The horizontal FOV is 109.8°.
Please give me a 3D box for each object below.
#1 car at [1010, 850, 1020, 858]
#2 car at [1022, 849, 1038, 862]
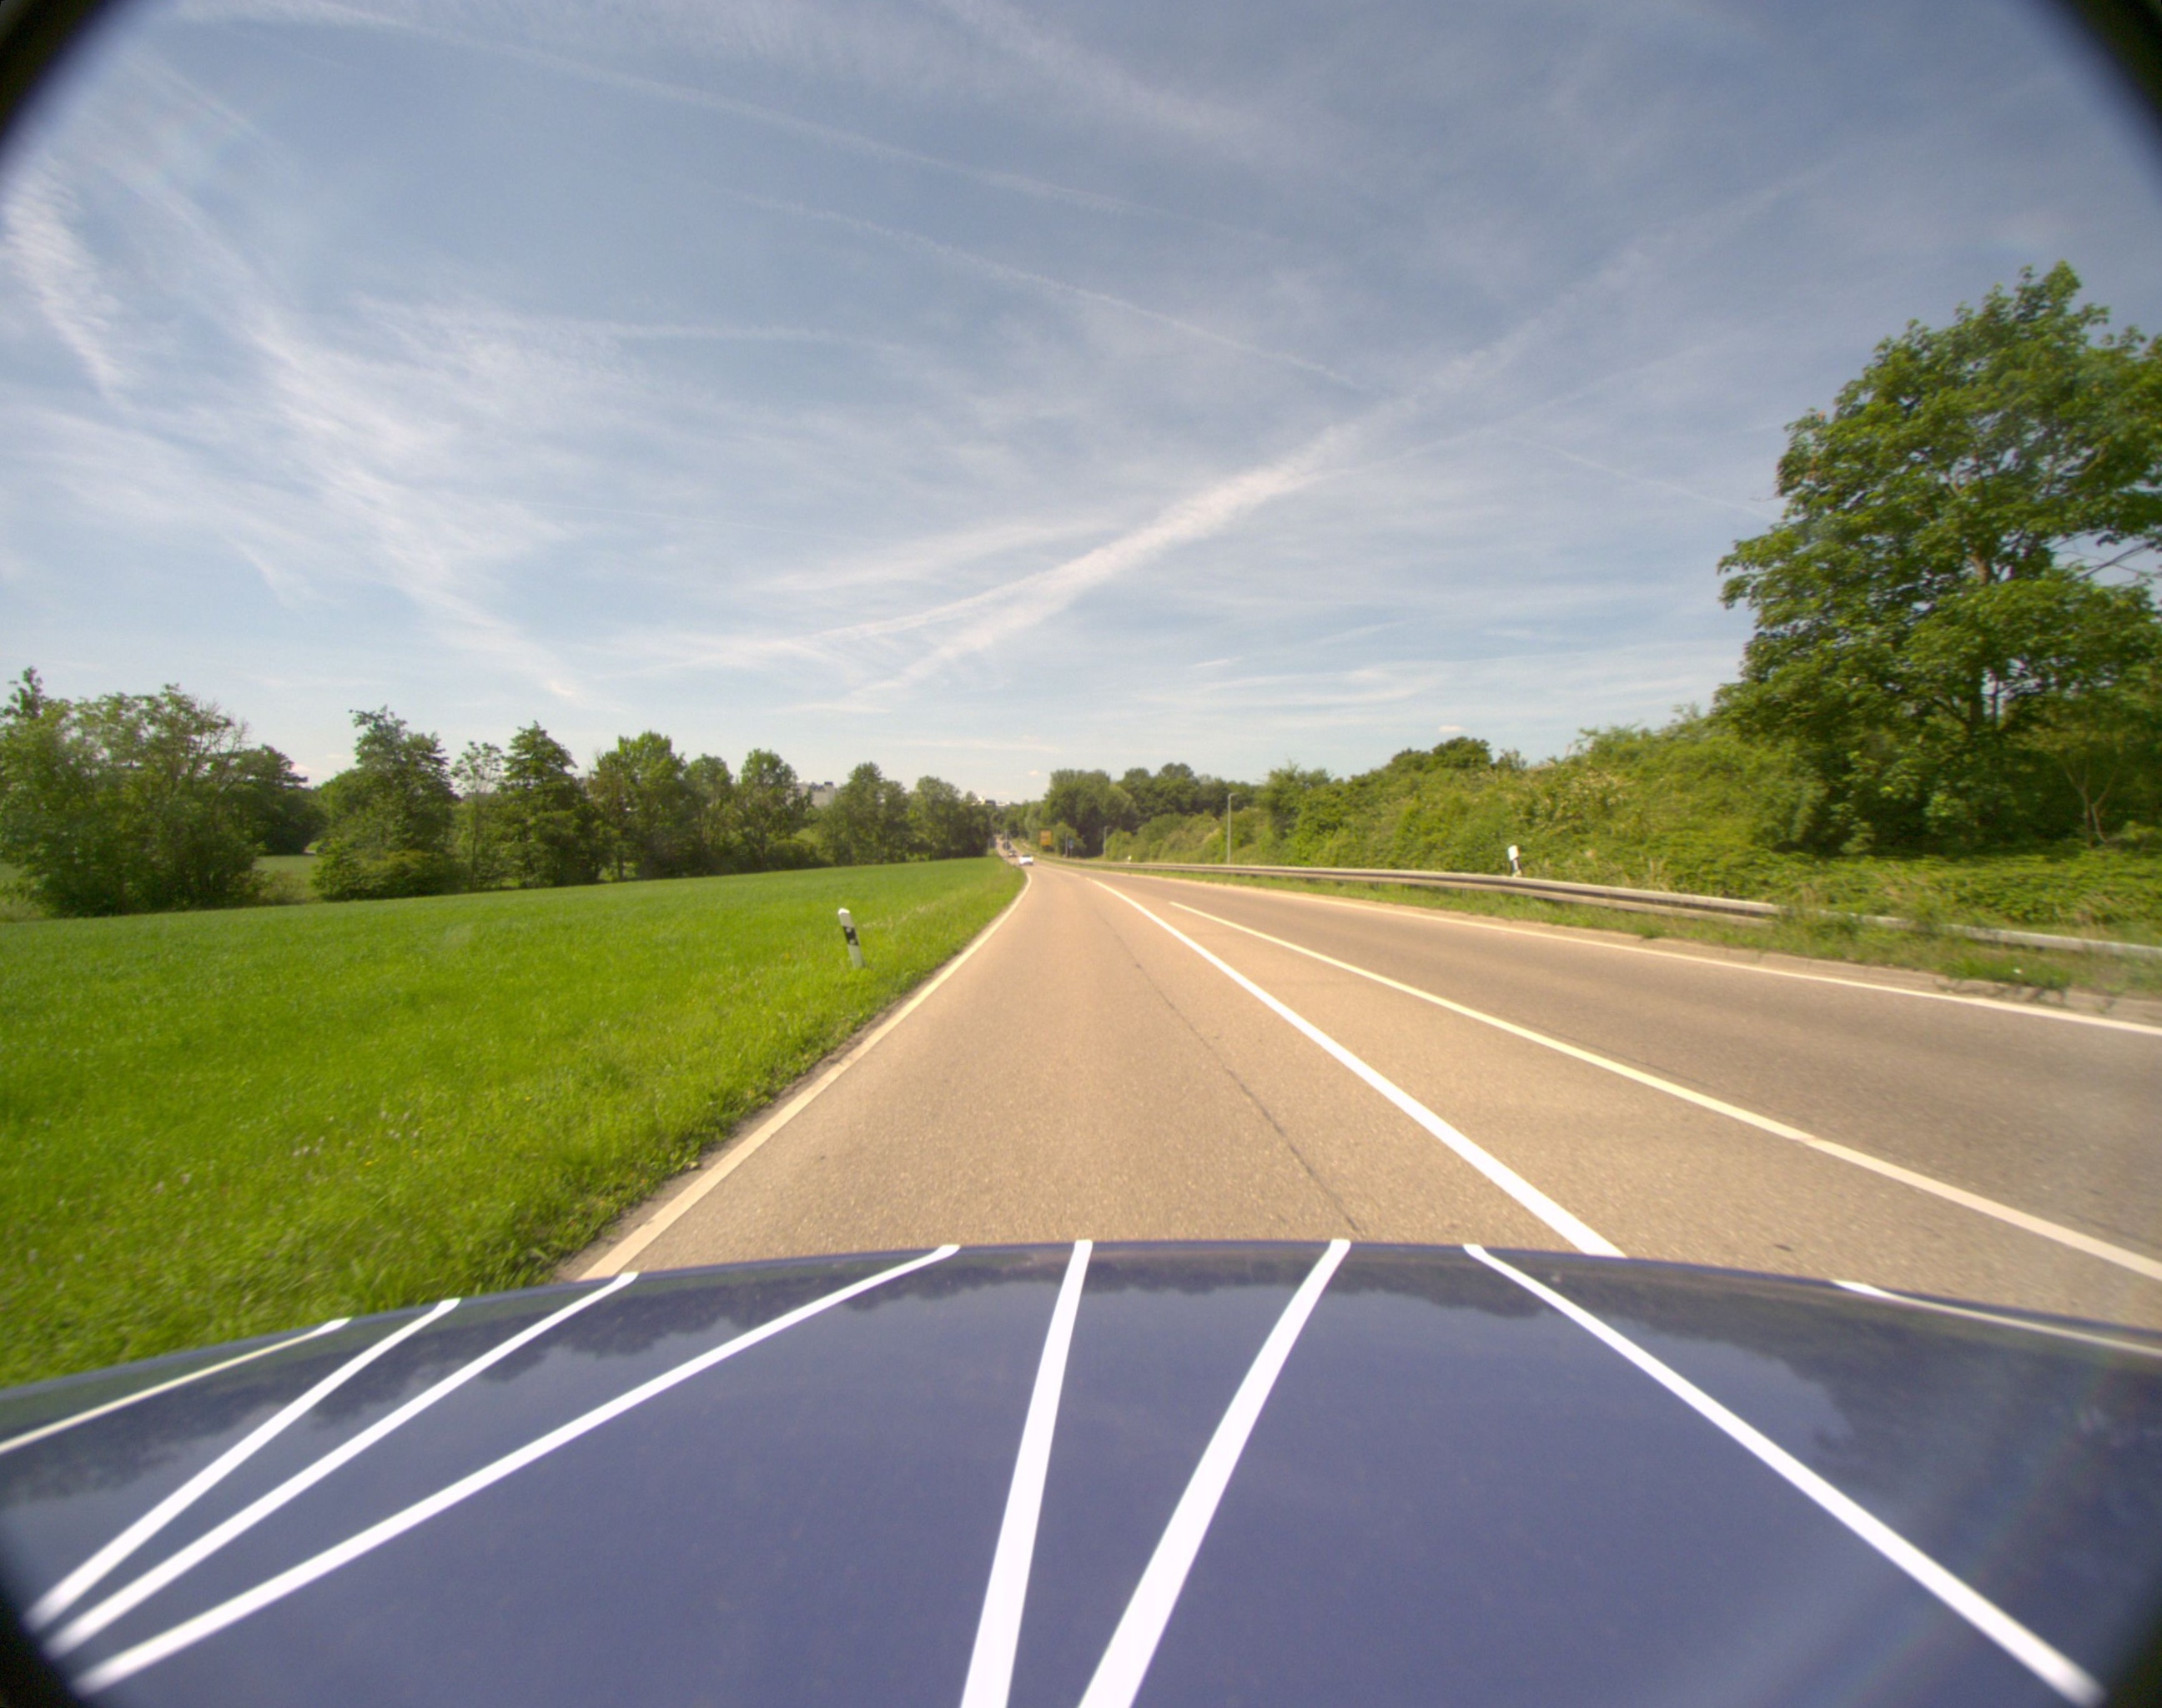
[{"bbox_3d":[-14.487,0.047,166.288,2.000,1.576,3.997,-2,0,-7],"label":"car"},{"bbox_3d":[-6.838,0.187,102.537,1.999,1.576,3.999,-2,0,-3],"label":"car"}]
